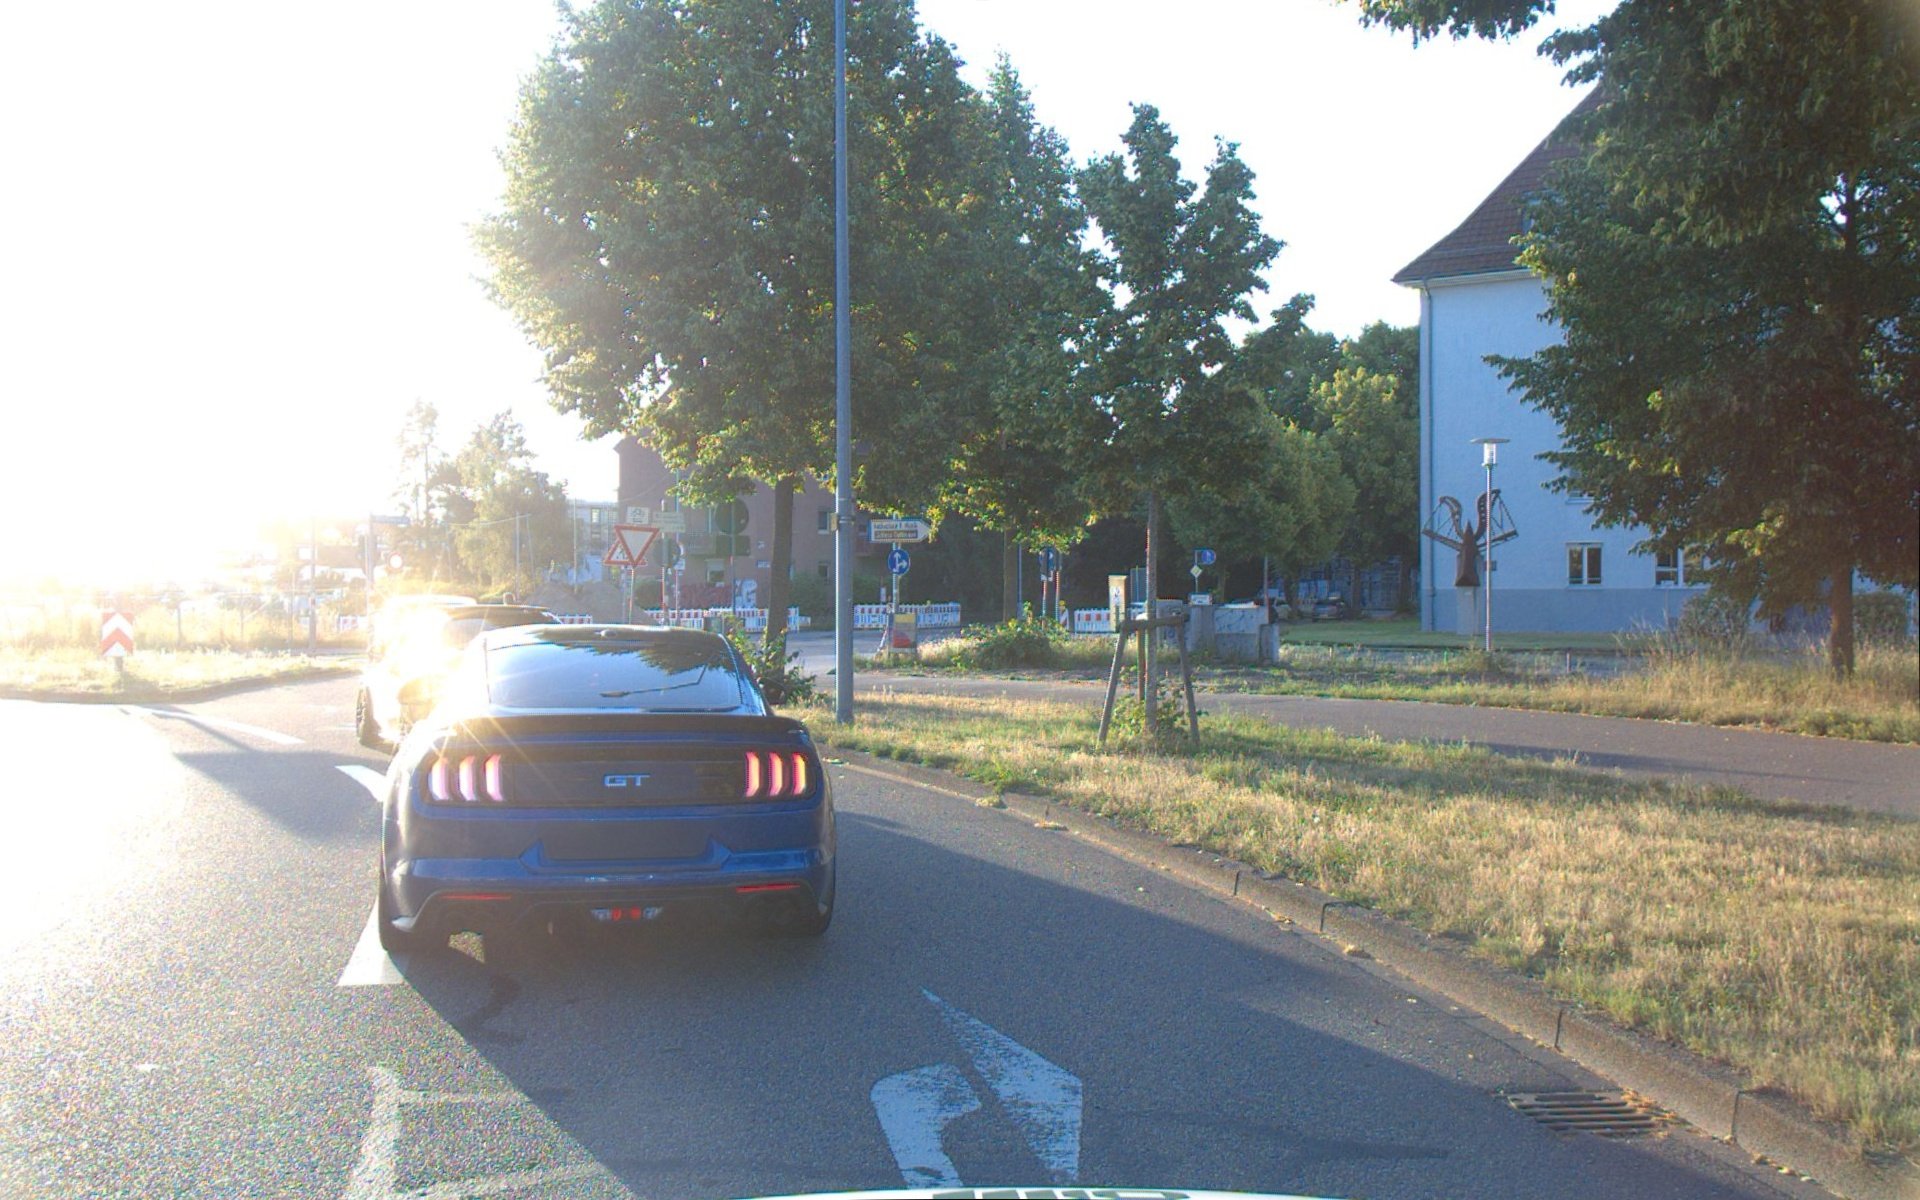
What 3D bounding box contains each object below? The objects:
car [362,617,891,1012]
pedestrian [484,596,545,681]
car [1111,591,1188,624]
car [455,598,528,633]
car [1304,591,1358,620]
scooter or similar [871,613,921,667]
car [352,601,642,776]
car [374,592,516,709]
[{"bbox_3d":[-1.811,0.788,8.362,1.919,1.365,4.650,0,0,-16],"label":"car"},{"bbox_3d":[-9.176,0.773,34.059,0.869,1.716,0.843,0,0,34],"label":"pedestrian"},{"bbox_3d":[8.302,0.315,72.357,1.842,1.426,3.906,0,0,32],"label":"car"},{"bbox_3d":[-23.415,0.771,82.653,1.984,1.736,3.937,0,0,-43],"label":"car"},{"bbox_3d":[21.369,0.320,95.197,1.915,1.630,4.069,0,0,30],"label":"car"},{"bbox_3d":[-1.513,0.938,39.164,1.104,1.260,0.439,0,0,-22],"label":"scooter or similar"},{"bbox_3d":[-4.655,0.785,16.145,1.928,1.452,4.391,2,-1,-26],"label":"car"},{"bbox_3d":[-8.241,0.807,26.475,1.921,1.630,4.056,3,-2,-18],"label":"car"}]
